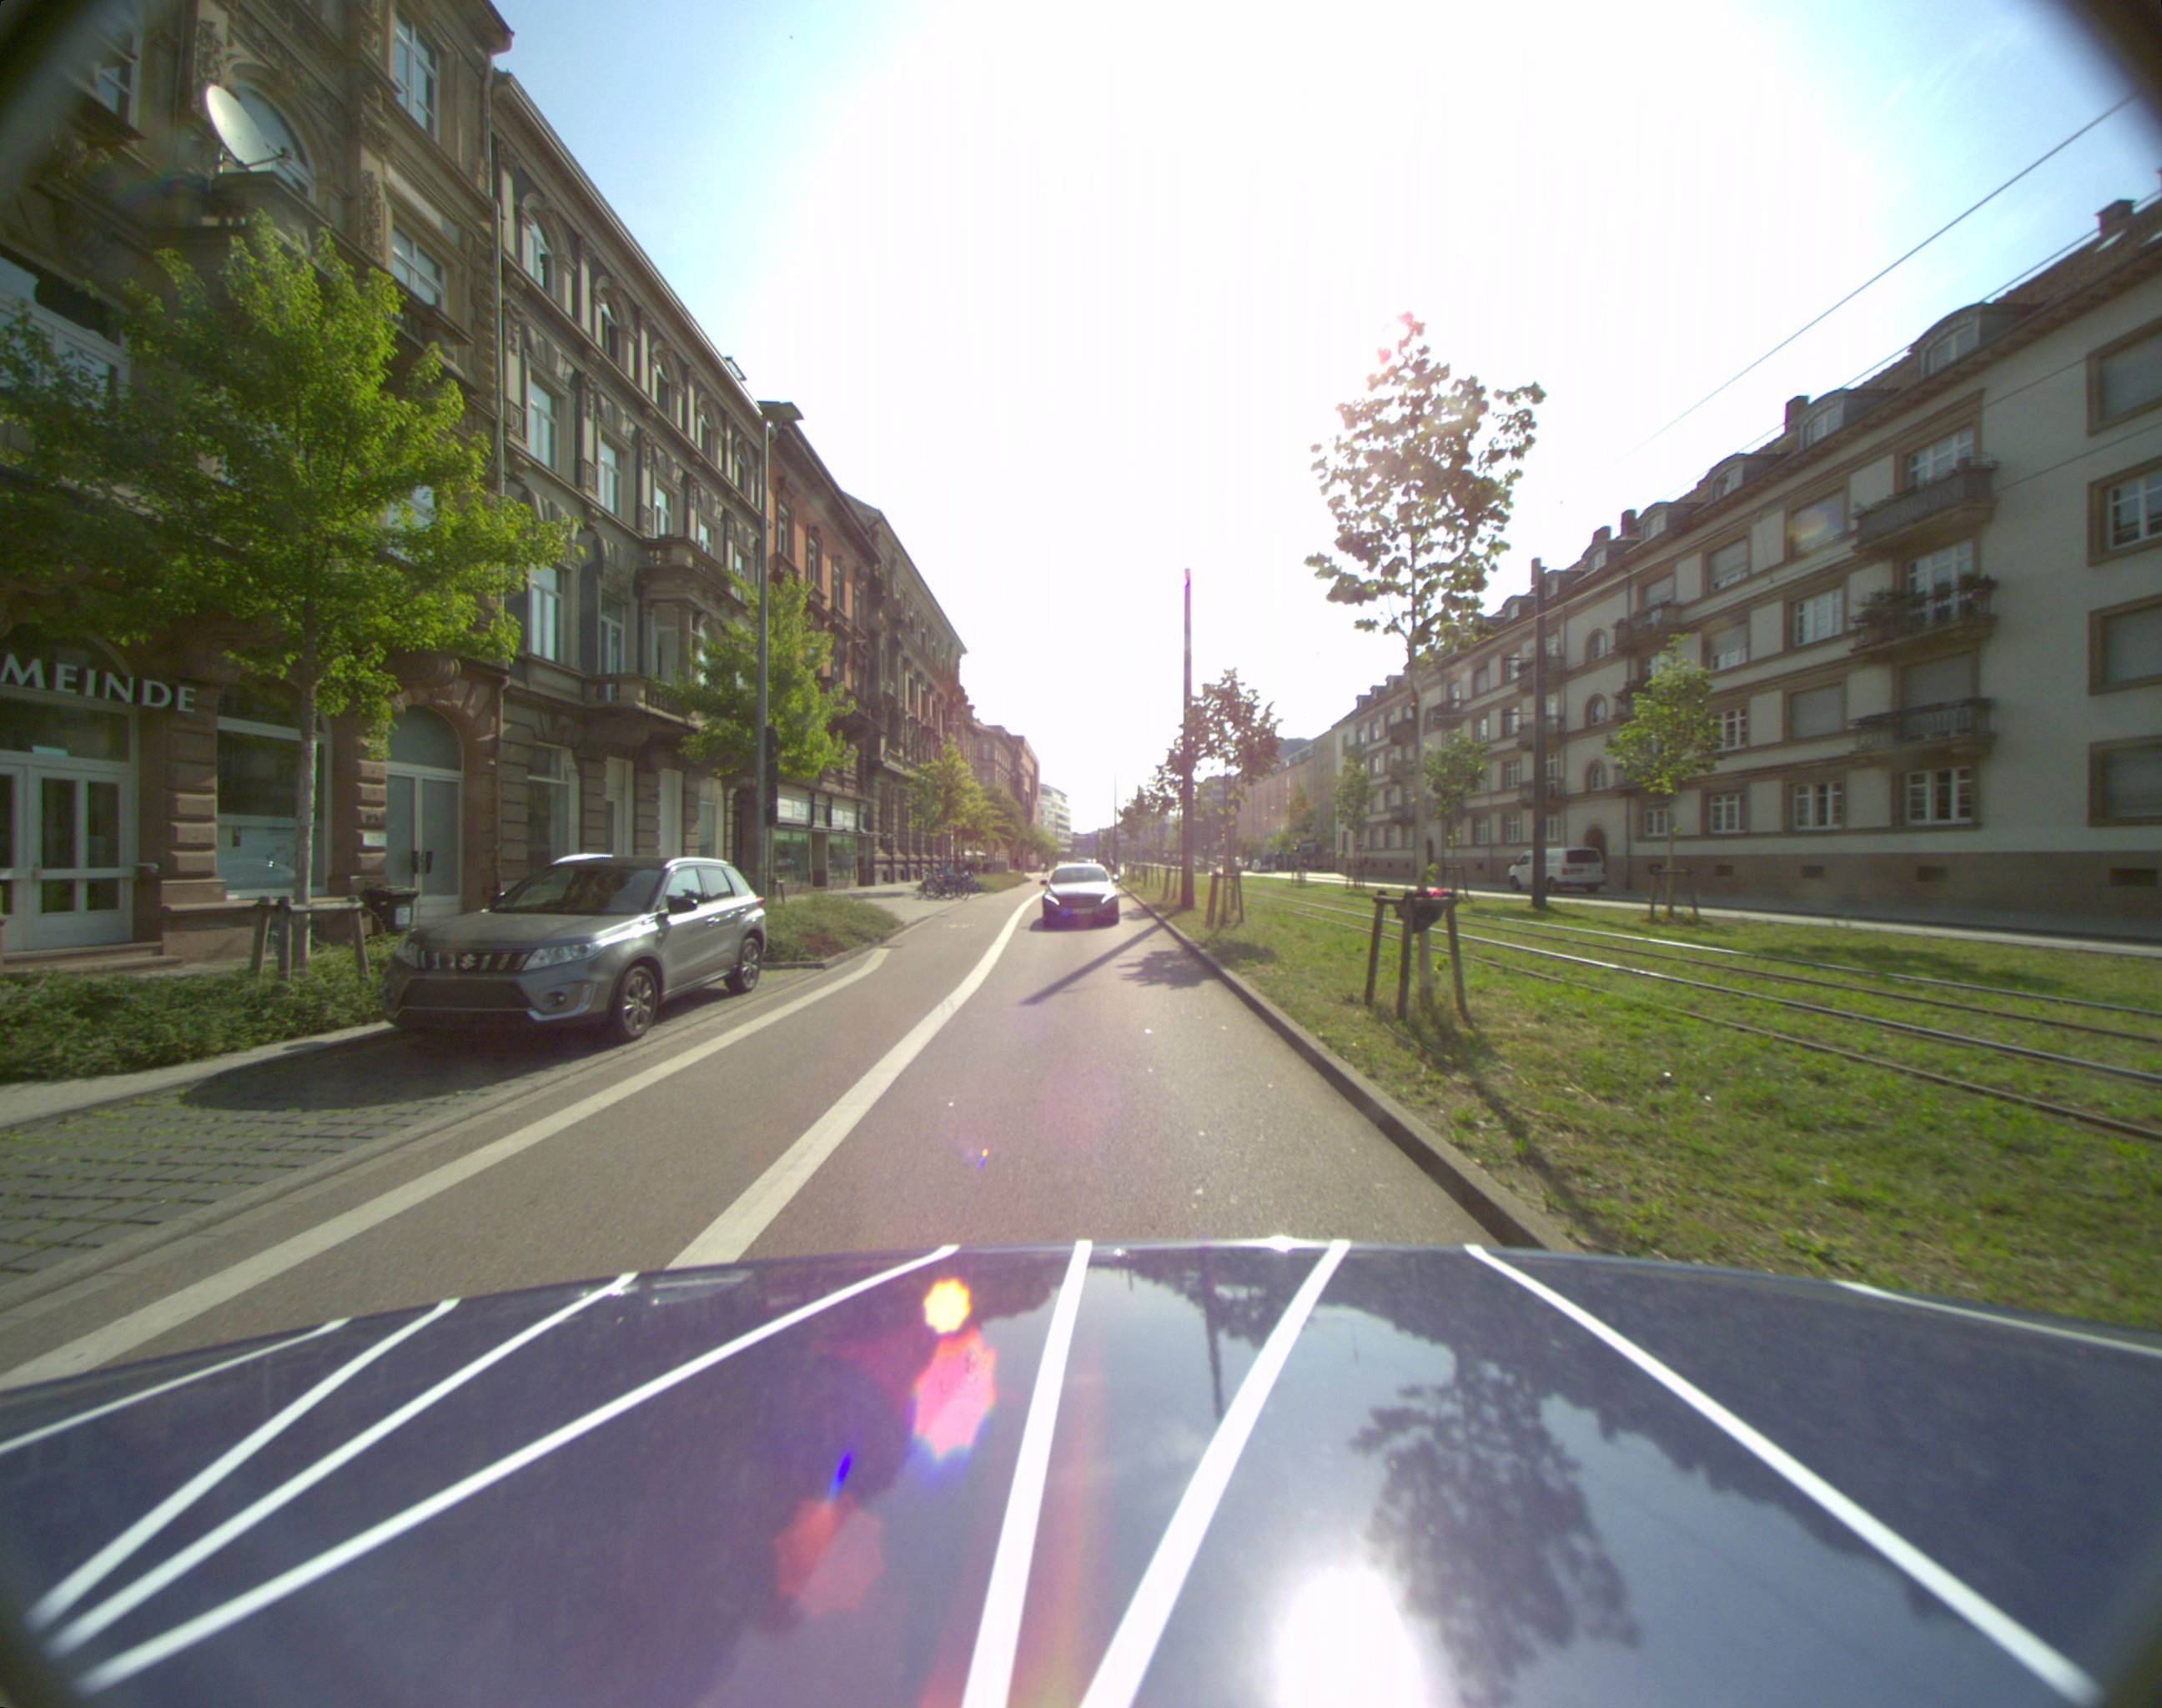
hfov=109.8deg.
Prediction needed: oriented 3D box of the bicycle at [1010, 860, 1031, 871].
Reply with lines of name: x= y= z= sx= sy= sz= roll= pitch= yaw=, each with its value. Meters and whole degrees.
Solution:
bicycle: x=-5.245 y=0.987 z=65.745 sx=1.781 sy=0.948 sz=0.507 roll=2 pitch=1 yaw=18

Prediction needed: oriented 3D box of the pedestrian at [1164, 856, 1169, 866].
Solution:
pedestrian: x=14.958 y=1.208 z=133.430 sx=0.807 sy=1.875 sz=0.555 roll=0 pitch=1 yaw=2

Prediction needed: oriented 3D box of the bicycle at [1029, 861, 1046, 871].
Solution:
bicycle: x=-5.238 y=1.421 z=91.467 sx=1.763 sy=1.081 sz=0.671 roll=3 pitch=0 yaw=-22

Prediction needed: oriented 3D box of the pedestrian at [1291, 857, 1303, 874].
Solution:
pedestrian: x=24.733 y=1.300 z=87.017 sx=1.073 sy=1.857 sz=0.862 roll=-1 pitch=1 yaw=-26

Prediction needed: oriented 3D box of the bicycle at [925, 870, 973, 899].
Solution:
bicycle: x=-5.111 y=1.181 z=29.438 sx=1.789 sy=1.048 sz=0.373 roll=2 pitch=0 yaw=0

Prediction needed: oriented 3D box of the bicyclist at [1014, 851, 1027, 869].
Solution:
bicyclist: x=-5.249 y=0.531 z=65.752 sx=0.929 sy=1.473 sz=0.586 roll=2 pitch=1 yaw=18

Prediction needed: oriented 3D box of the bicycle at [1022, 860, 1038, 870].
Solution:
bicycle: x=-5.879 y=1.298 z=88.218 sx=1.756 sy=1.081 sz=0.583 roll=2 pitch=0 yaw=4

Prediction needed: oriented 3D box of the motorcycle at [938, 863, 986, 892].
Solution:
motorcycle: x=-5.446 y=1.100 z=34.861 sx=2.046 sy=1.279 sz=0.703 roll=2 pitch=-1 yaw=-35

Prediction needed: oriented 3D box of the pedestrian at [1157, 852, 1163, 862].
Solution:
pedestrian: x=14.879 y=0.553 z=143.055 sx=0.787 sy=1.736 sz=0.833 roll=1 pitch=1 yaw=-36

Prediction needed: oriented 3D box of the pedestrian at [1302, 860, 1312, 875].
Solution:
pedestrian: x=24.343 y=1.425 z=81.880 sx=0.809 sy=1.574 sz=0.679 roll=0 pitch=1 yaw=-26

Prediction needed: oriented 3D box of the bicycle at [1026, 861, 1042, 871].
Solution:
bicycle: x=-5.516 y=1.384 z=90.069 sx=1.758 sy=1.081 sz=0.669 roll=3 pitch=0 yaw=6

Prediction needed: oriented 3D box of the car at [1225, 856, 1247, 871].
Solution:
car: x=20.132 y=1.195 z=98.807 sx=1.998 sy=1.884 sz=5.047 roll=0 pitch=0 yaw=3

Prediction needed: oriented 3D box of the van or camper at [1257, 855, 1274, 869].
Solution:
van or camper: x=26.952 y=1.158 z=111.205 sx=1.934 sy=1.956 sz=4.002 roll=0 pitch=0 yaw=5

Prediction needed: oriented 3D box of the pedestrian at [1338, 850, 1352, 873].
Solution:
pedestrian: x=24.069 y=0.661 z=69.344 sx=0.844 sy=2.056 sz=1.157 roll=-1 pitch=0 yaw=2

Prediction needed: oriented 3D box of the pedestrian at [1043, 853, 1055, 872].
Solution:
pedestrian: x=-2.970 y=0.795 z=70.376 sx=0.992 sy=1.795 sz=0.864 roll=1 pitch=-1 yaw=1

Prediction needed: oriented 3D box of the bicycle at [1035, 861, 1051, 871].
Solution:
bicycle: x=-4.631 y=1.436 z=92.695 sx=1.761 sy=1.081 sz=0.657 roll=3 pitch=0 yaw=-8

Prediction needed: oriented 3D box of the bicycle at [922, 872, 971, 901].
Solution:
bicycle: x=-5.122 y=1.227 z=29.038 sx=1.789 sy=1.048 sz=0.373 roll=2 pitch=0 yaw=0

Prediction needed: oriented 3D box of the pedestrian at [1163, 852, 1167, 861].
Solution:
pedestrian: x=16.502 y=0.548 z=148.888 sx=0.652 sy=1.750 sz=0.698 roll=-3 pitch=1 yaw=2

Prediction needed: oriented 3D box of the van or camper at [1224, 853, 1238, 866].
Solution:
van or camper: x=31.698 y=1.119 z=160.923 sx=1.998 sy=2.785 sz=5.353 roll=0 pitch=0 yaw=1

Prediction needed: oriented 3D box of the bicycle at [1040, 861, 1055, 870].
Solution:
bicycle: x=-4.143 y=1.401 z=94.254 sx=1.761 sy=1.081 sz=0.610 roll=3 pitch=0 yaw=-8

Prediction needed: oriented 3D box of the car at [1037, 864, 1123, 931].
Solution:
car: x=0.003 y=1.016 z=19.225 sx=1.907 sy=1.384 sz=4.236 roll=-1 pitch=0 yaw=1

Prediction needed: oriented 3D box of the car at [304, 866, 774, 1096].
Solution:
car: x=-4.759 y=0.960 z=7.605 sx=1.774 sy=1.579 sz=4.247 roll=1 pitch=0 yaw=-2

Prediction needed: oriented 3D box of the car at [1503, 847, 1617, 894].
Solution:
car: x=21.434 y=0.683 z=34.316 sx=1.998 sy=1.907 sz=5.153 roll=-2 pitch=0 yaw=2

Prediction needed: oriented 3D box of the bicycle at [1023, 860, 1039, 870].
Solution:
bicycle: x=-5.788 y=1.289 z=88.817 sx=1.756 sy=1.081 sz=0.583 roll=2 pitch=0 yaw=4

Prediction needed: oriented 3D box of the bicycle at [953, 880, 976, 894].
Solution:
bicycle: x=-5.167 y=1.462 z=33.687 sx=0.960 sy=0.606 sz=0.360 roll=1 pitch=1 yaw=2

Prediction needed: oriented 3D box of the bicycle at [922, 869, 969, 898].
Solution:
bicycle: x=-5.462 y=1.186 z=30.696 sx=1.812 sy=1.089 sz=0.671 roll=2 pitch=0 yaw=-4

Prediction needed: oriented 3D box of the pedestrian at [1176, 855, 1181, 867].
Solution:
pedestrian: x=15.079 y=1.150 z=117.791 sx=0.740 sy=1.861 sz=0.939 roll=0 pitch=1 yaw=2
